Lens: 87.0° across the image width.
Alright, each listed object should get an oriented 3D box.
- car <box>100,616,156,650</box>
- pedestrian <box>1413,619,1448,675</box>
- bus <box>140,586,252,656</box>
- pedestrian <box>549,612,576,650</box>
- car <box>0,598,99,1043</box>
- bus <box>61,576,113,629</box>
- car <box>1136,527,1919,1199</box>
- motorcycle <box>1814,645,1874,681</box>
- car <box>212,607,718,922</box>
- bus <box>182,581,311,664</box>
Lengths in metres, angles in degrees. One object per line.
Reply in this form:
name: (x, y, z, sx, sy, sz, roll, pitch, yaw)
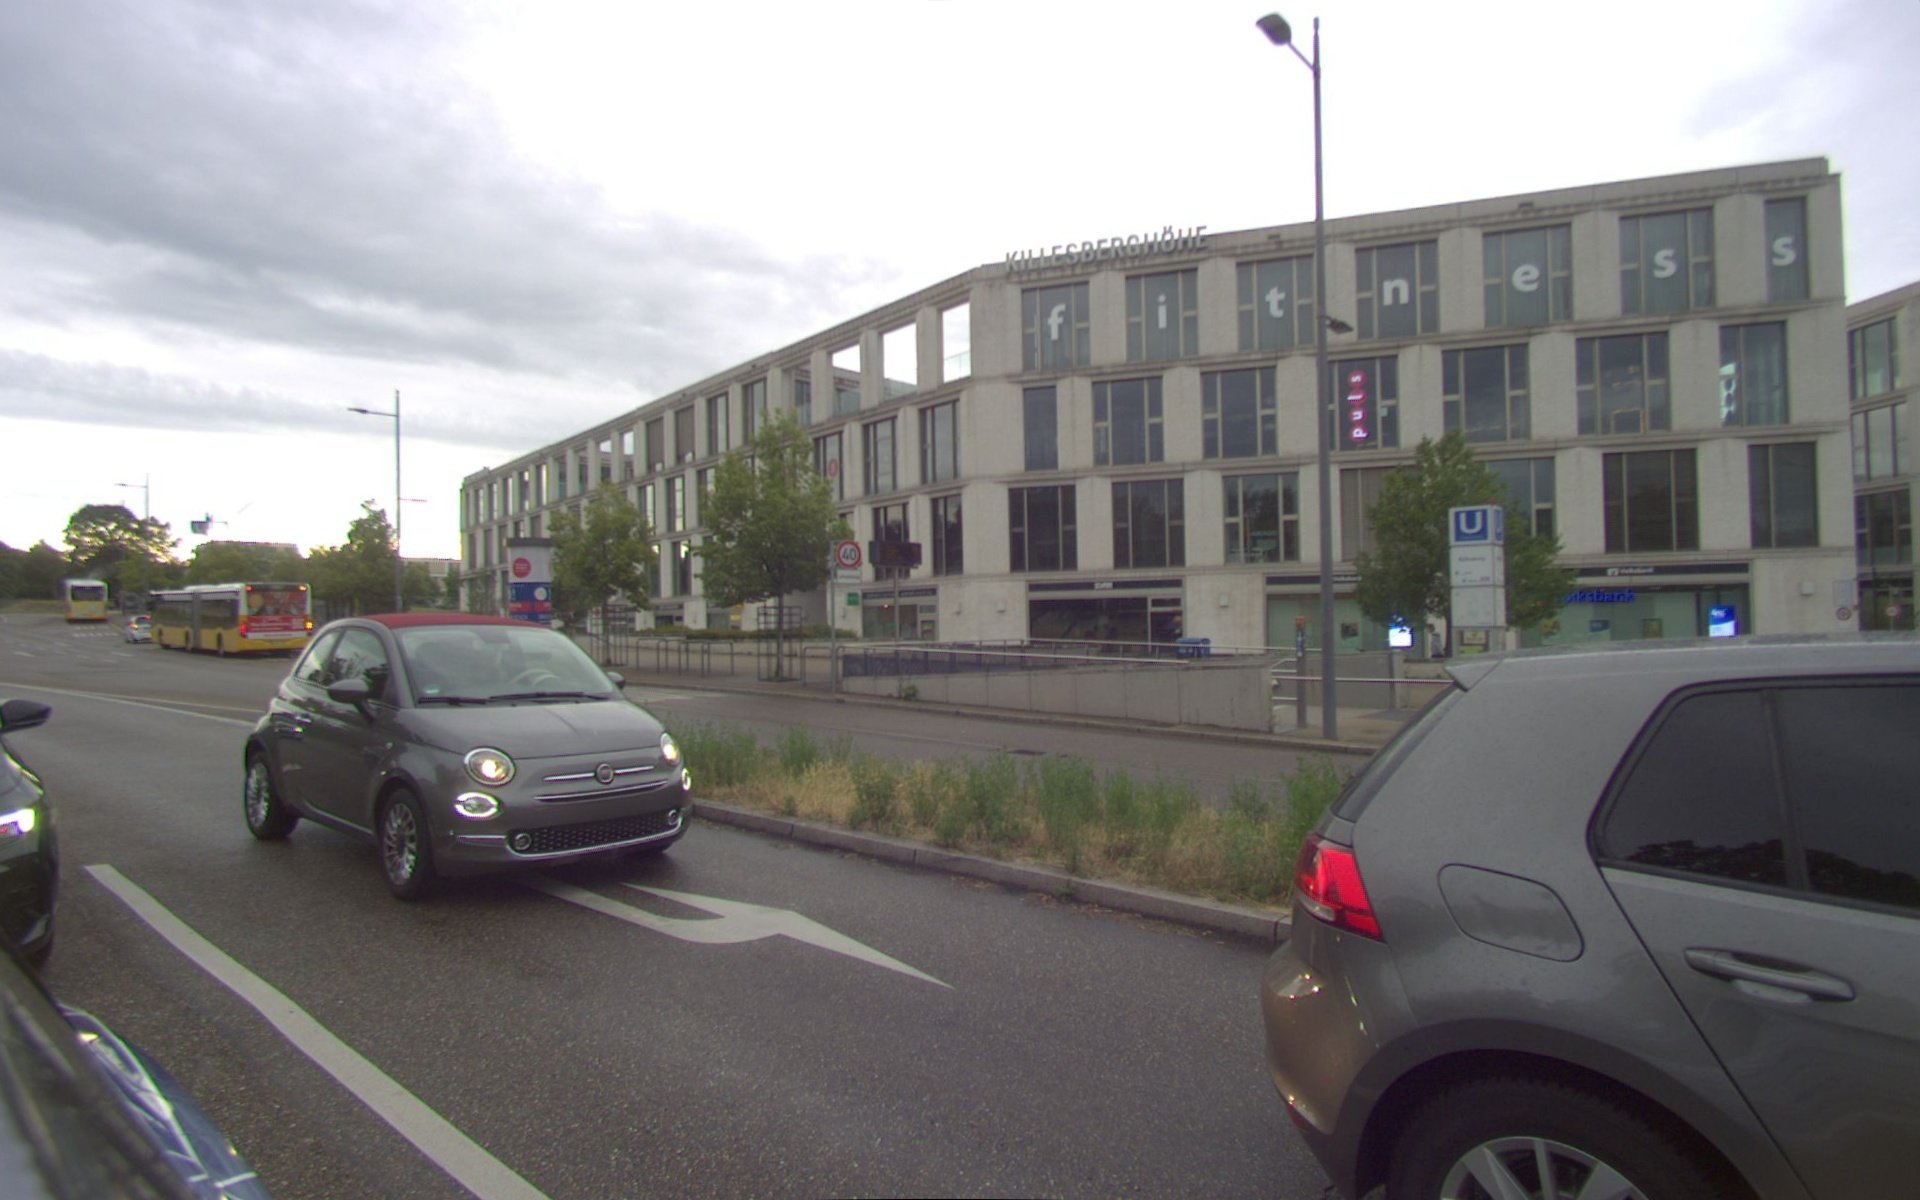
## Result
car: (-47.313, 1.834, 57.506, 3.998, 1.800, 1.843, -1, 0, 41)
pedestrian: (13.872, 1.384, 29.836, 0.910, 1.617, 0.757, -1, -1, 28)
bus: (-38.168, 0.986, 50.384, 9.911, 3.205, 2.658, -1, 0, 42)
pedestrian: (-17.052, 1.326, 43.444, 0.967, 1.593, 0.869, -1, 0, -15)
car: (-5.429, 0.762, 4.417, 4.766, 1.476, 1.877, -1, 0, 41)
bus: (-76.549, 0.267, 88.987, 2.717, 4.185, 19.383, -1, 0, -39)
car: (2.603, 0.647, 1.385, 4.374, 1.492, 1.797, -1, -2, 41)
motorcycle: (20.426, 1.446, 23.409, 0.517, 0.746, 1.098, -1, 0, 9)
car: (-3.318, 0.815, 6.551, 3.502, 1.492, 1.611, -1, -2, 39)
bus: (-31.141, 0.917, 43.978, 9.206, 3.236, 2.723, -1, 0, 43)
